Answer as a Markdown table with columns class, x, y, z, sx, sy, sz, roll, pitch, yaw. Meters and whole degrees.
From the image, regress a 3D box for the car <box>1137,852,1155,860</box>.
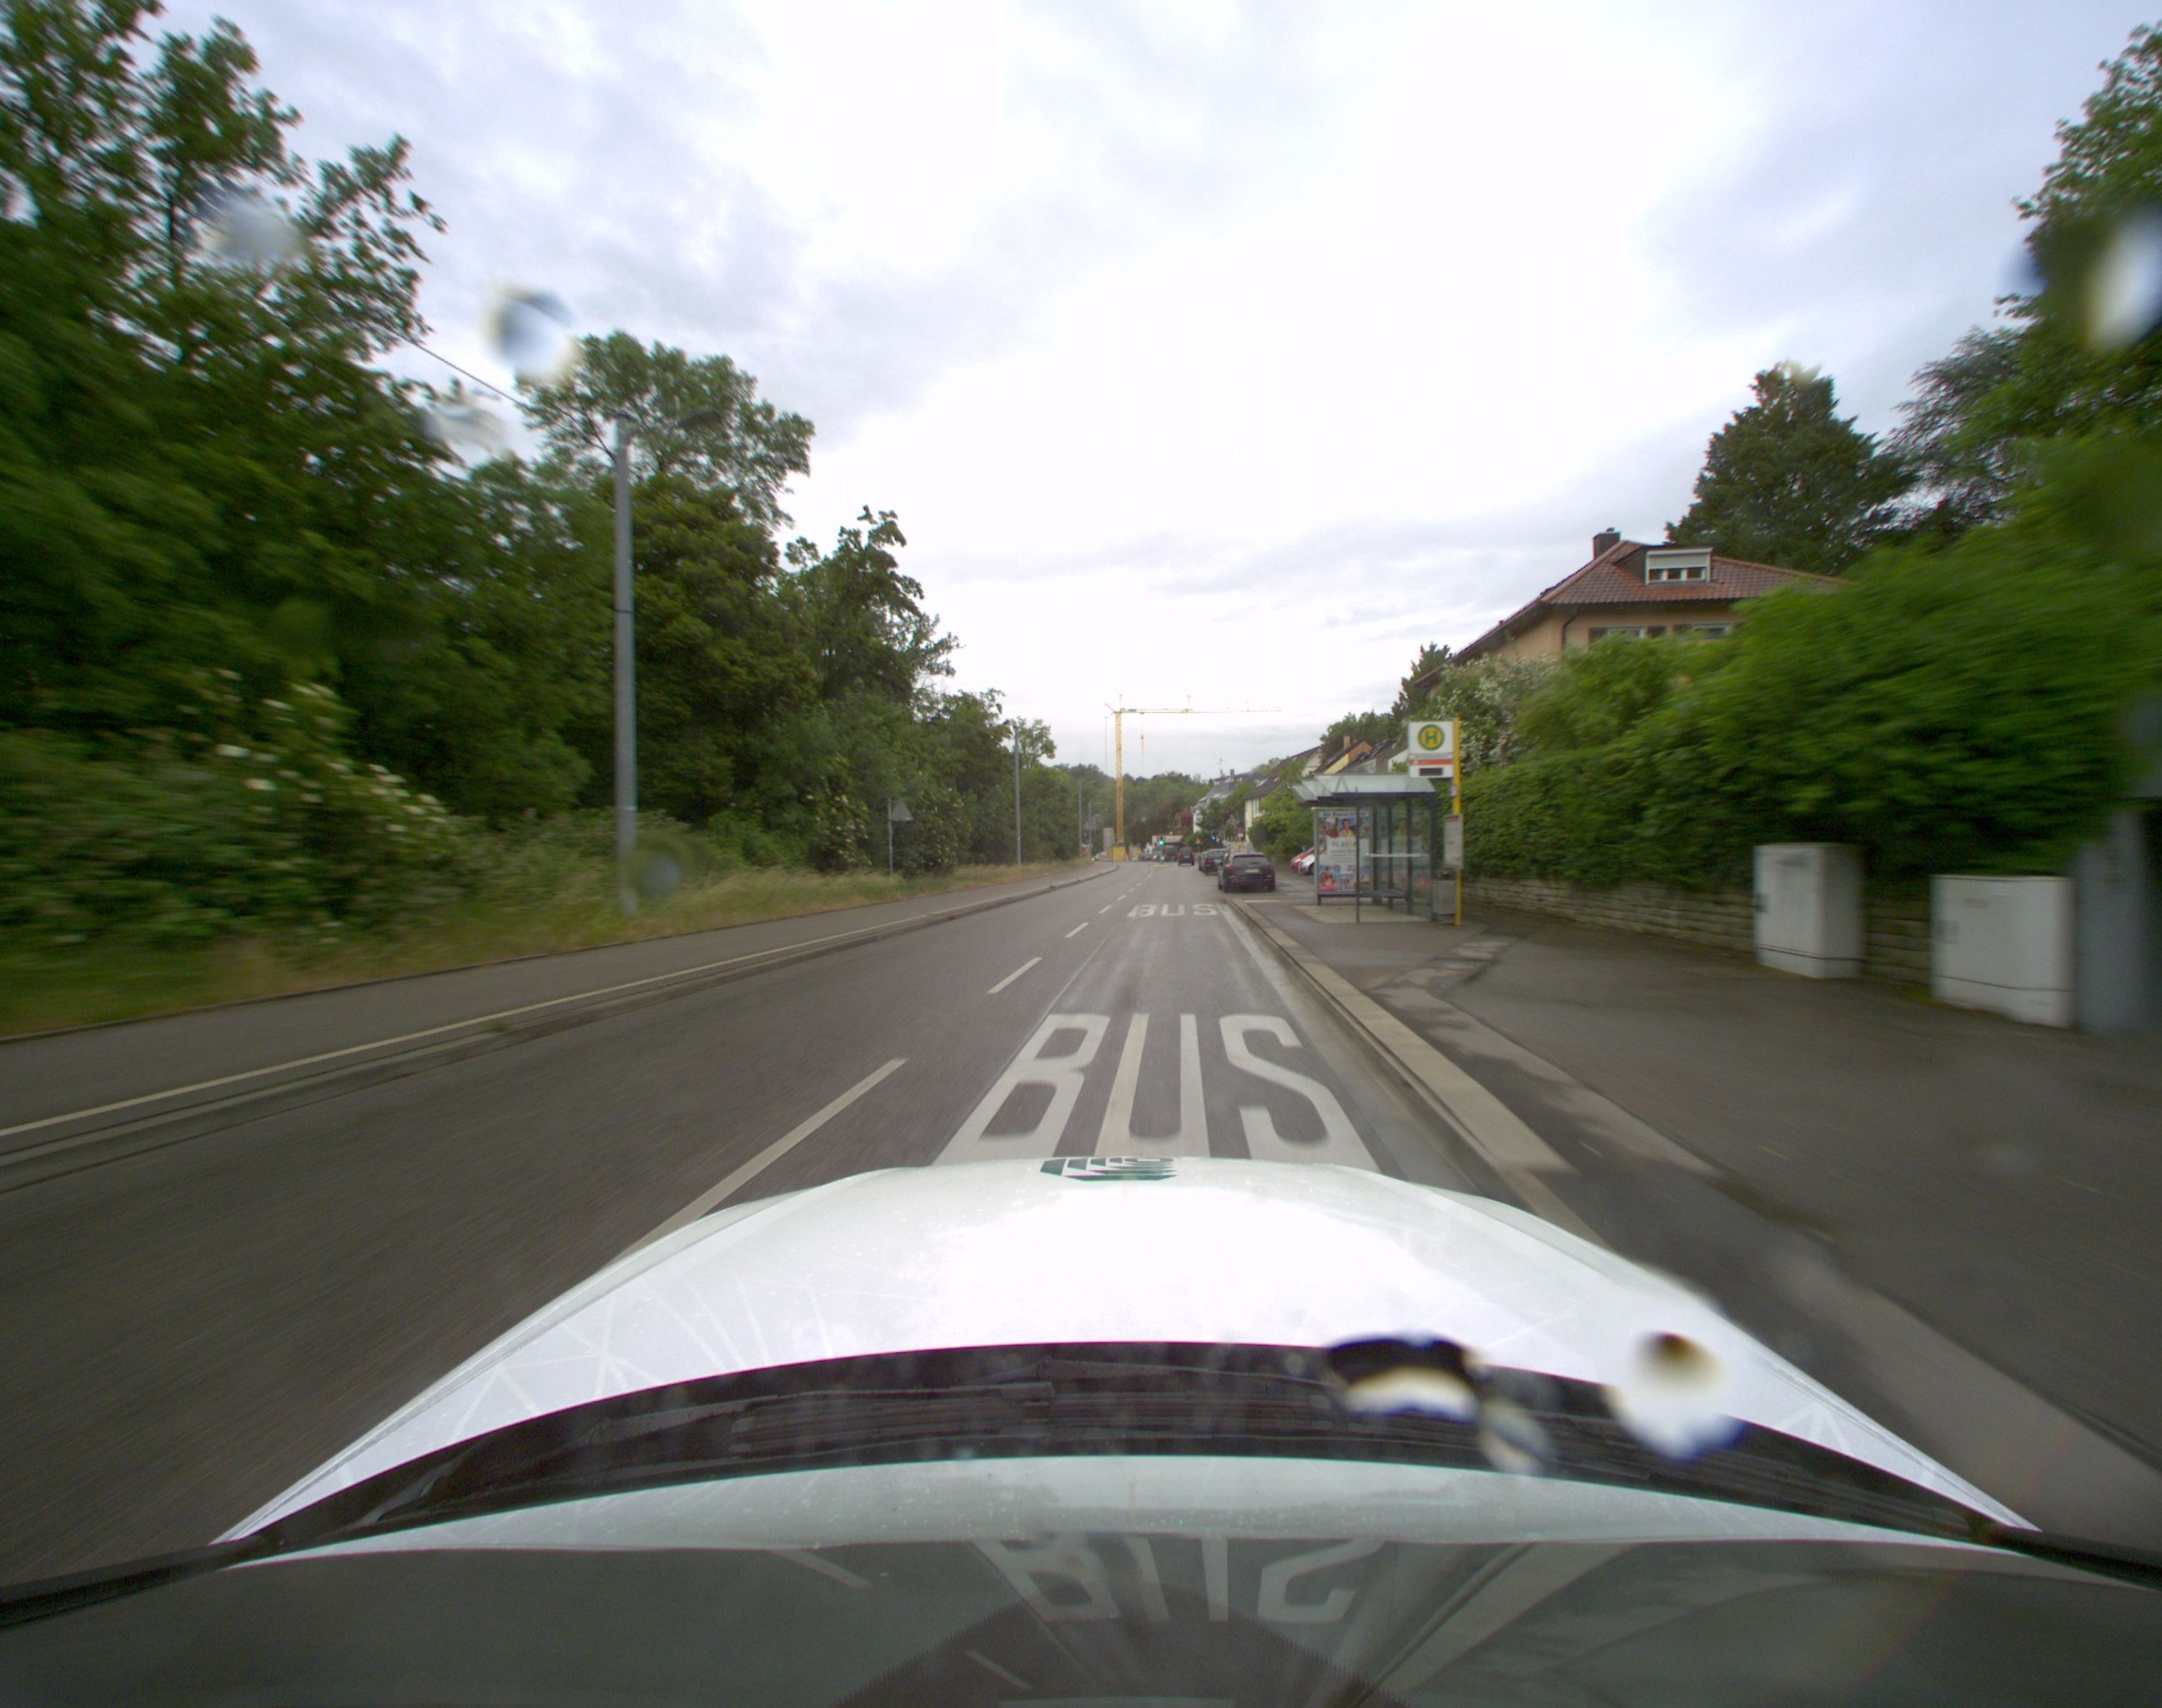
| class | x | y | z | sx | sy | sz | roll | pitch | yaw |
| --- | --- | --- | --- | --- | --- | --- | --- | --- | --- |
| car | 10.840 | 0.332 | 136.488 | 1.931 | 1.422 | 4.822 | 0 | 0 | -9 |

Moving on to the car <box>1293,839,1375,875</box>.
| class | x | y | z | sx | sy | sz | roll | pitch | yaw |
| --- | --- | --- | --- | --- | --- | --- | --- | --- | --- |
| car | 13.001 | 0.147 | 42.058 | 3.641 | 1.536 | 1.830 | -4 | 0 | 4 |

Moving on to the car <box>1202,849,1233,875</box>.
| class | x | y | z | sx | sy | sz | roll | pitch | yaw |
| --- | --- | --- | --- | --- | --- | --- | --- | --- | --- |
| car | 8.635 | 0.474 | 51.688 | 1.721 | 1.568 | 4.531 | -2 | 0 | 7 |

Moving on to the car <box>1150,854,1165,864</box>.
| class | x | y | z | sx | sy | sz | roll | pitch | yaw |
| --- | --- | --- | --- | --- | --- | --- | --- | --- | --- |
| car | 11.497 | 0.791 | 122.512 | 1.670 | 1.457 | 3.380 | -2 | -1 | -4 |

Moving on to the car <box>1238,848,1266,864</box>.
| class | x | y | z | sx | sy | sz | roll | pitch | yaw |
| --- | --- | --- | --- | --- | --- | --- | --- | --- | --- |
| car | 18.177 | 0.226 | 86.791 | 1.927 | 1.596 | 4.338 | 2 | -1 | -2 |

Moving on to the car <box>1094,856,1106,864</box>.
| class | x | y | z | sx | sy | sz | roll | pitch | yaw |
| --- | --- | --- | --- | --- | --- | --- | --- | --- | --- |
| car | 4.063 | 1.276 | 178.713 | 1.745 | 1.706 | 4.486 | -3 | 0 | -10 |

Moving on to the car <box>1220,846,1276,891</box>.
| class | x | y | z | sx | sy | sz | roll | pitch | yaw |
| --- | --- | --- | --- | --- | --- | --- | --- | --- | --- |
| car | 6.250 | 0.538 | 30.922 | 1.819 | 1.547 | 4.641 | -1 | -1 | 9 |

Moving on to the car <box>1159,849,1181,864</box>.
| class | x | y | z | sx | sy | sz | roll | pitch | yaw |
| --- | --- | --- | --- | --- | --- | --- | --- | --- | --- |
| car | 12.286 | 0.350 | 112.911 | 1.990 | 2.013 | 4.948 | -3 | 0 | -5 |

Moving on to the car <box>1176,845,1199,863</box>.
| class | x | y | z | sx | sy | sz | roll | pitch | yaw |
| --- | --- | --- | --- | --- | --- | --- | --- | --- | --- |
| car | 10.997 | 0.021 | 84.094 | 1.925 | 1.751 | 4.001 | 1 | -1 | 1 |

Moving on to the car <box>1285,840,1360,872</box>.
| class | x | y | z | sx | sy | sz | roll | pitch | yaw |
| --- | --- | --- | --- | --- | --- | --- | --- | --- | --- |
| car | 13.320 | 0.105 | 45.045 | 3.639 | 1.566 | 1.886 | -3 | -1 | 6 |

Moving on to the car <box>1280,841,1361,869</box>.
| class | x | y | z | sx | sy | sz | roll | pitch | yaw |
| --- | --- | --- | --- | --- | --- | --- | --- | --- | --- |
| car | 13.810 | 0.086 | 47.080 | 4.223 | 1.461 | 1.885 | -1 | -1 | 6 |
